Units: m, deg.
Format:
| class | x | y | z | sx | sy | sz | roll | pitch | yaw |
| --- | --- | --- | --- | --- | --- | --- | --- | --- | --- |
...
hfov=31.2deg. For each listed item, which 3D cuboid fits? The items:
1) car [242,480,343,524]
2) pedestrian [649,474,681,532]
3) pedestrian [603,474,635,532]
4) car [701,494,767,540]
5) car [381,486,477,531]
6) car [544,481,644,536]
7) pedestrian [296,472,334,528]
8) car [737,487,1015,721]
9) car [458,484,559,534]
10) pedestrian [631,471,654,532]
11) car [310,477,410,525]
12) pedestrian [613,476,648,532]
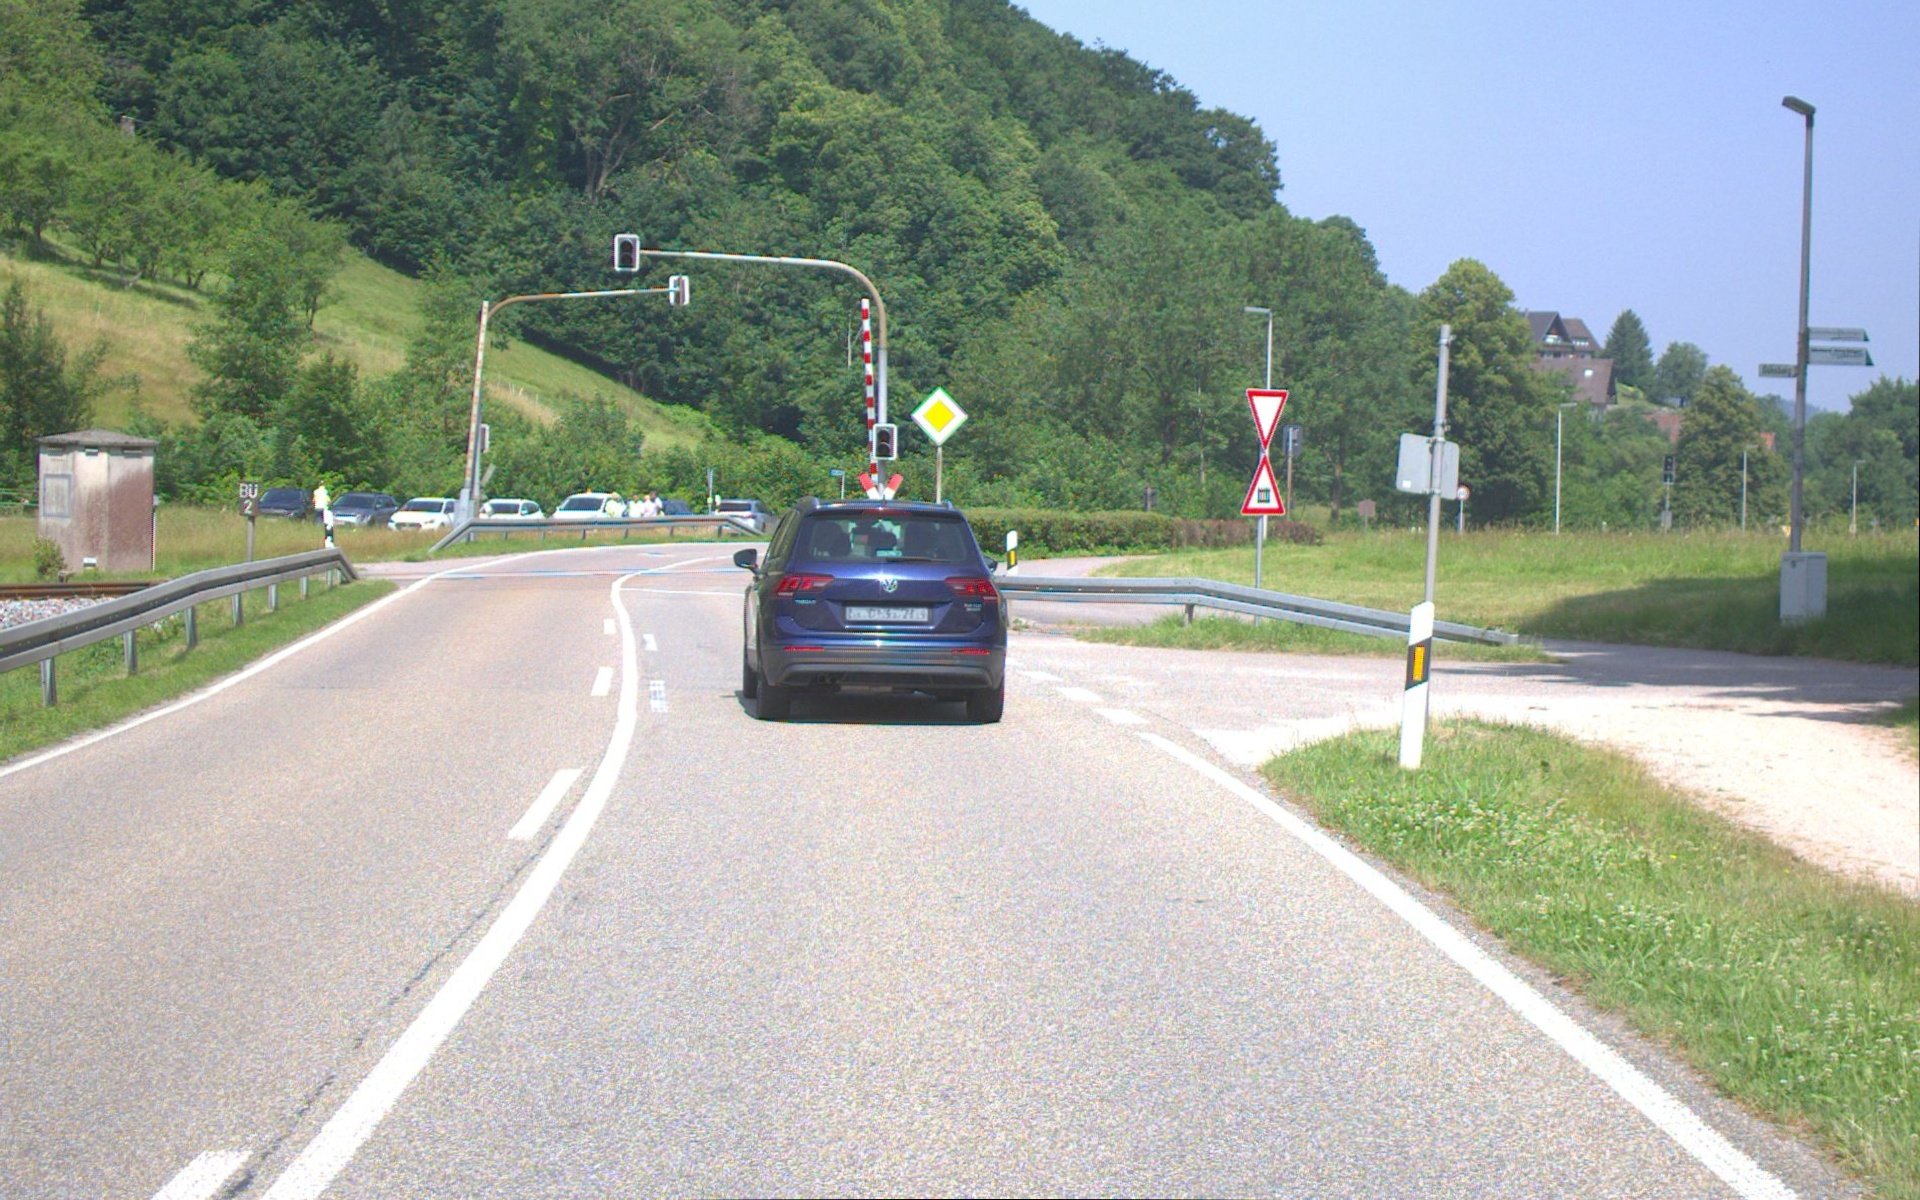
| class | x | y | z | sx | sy | sz | roll | pitch | yaw |
| --- | --- | --- | --- | --- | --- | --- | --- | --- | --- |
| car | -22.910 | -3.355 | 118.145 | 1.994 | 1.495 | 4.520 | 1 | 1 | 8 |
| pedestrian | -9.427 | -3.084 | 109.780 | 0.648 | 1.852 | 0.769 | 1 | 2 | 44 |
| pedestrian | -10.805 | -3.078 | 108.893 | 0.789 | 1.836 | 0.698 | 1 | 1 | 21 |
| car | -7.501 | -2.753 | 114.428 | 1.826 | 1.495 | 4.277 | 0 | 1 | 1 |
| car | -18.033 | -3.096 | 116.892 | 1.994 | 1.495 | 4.520 | 1 | 1 | 8 |
| car | -12.424 | -3.115 | 116.967 | 1.872 | 1.776 | 4.769 | 2 | 2 | 14 |
| pedestrian | -20.807 | -3.237 | 110.944 | 0.954 | 1.788 | 1.000 | 0 | 2 | 5 |
| car | -0.722 | -0.019 | 26.310 | 1.852 | 1.643 | 4.141 | 0 | 1 | -5 |
| car | -15.324 | -3.088 | 116.863 | 1.994 | 1.635 | 4.900 | 1 | 1 | 11 |
| pedestrian | -10.104 | -3.146 | 109.500 | 0.660 | 1.948 | 0.533 | 0 | 2 | 1 |
| car | -20.477 | -3.376 | 117.506 | 1.994 | 1.495 | 4.520 | 3 | 2 | 8 |
| pedestrian | -10.501 | -3.067 | 109.639 | 0.770 | 1.790 | 0.792 | 1 | 2 | 37 |
